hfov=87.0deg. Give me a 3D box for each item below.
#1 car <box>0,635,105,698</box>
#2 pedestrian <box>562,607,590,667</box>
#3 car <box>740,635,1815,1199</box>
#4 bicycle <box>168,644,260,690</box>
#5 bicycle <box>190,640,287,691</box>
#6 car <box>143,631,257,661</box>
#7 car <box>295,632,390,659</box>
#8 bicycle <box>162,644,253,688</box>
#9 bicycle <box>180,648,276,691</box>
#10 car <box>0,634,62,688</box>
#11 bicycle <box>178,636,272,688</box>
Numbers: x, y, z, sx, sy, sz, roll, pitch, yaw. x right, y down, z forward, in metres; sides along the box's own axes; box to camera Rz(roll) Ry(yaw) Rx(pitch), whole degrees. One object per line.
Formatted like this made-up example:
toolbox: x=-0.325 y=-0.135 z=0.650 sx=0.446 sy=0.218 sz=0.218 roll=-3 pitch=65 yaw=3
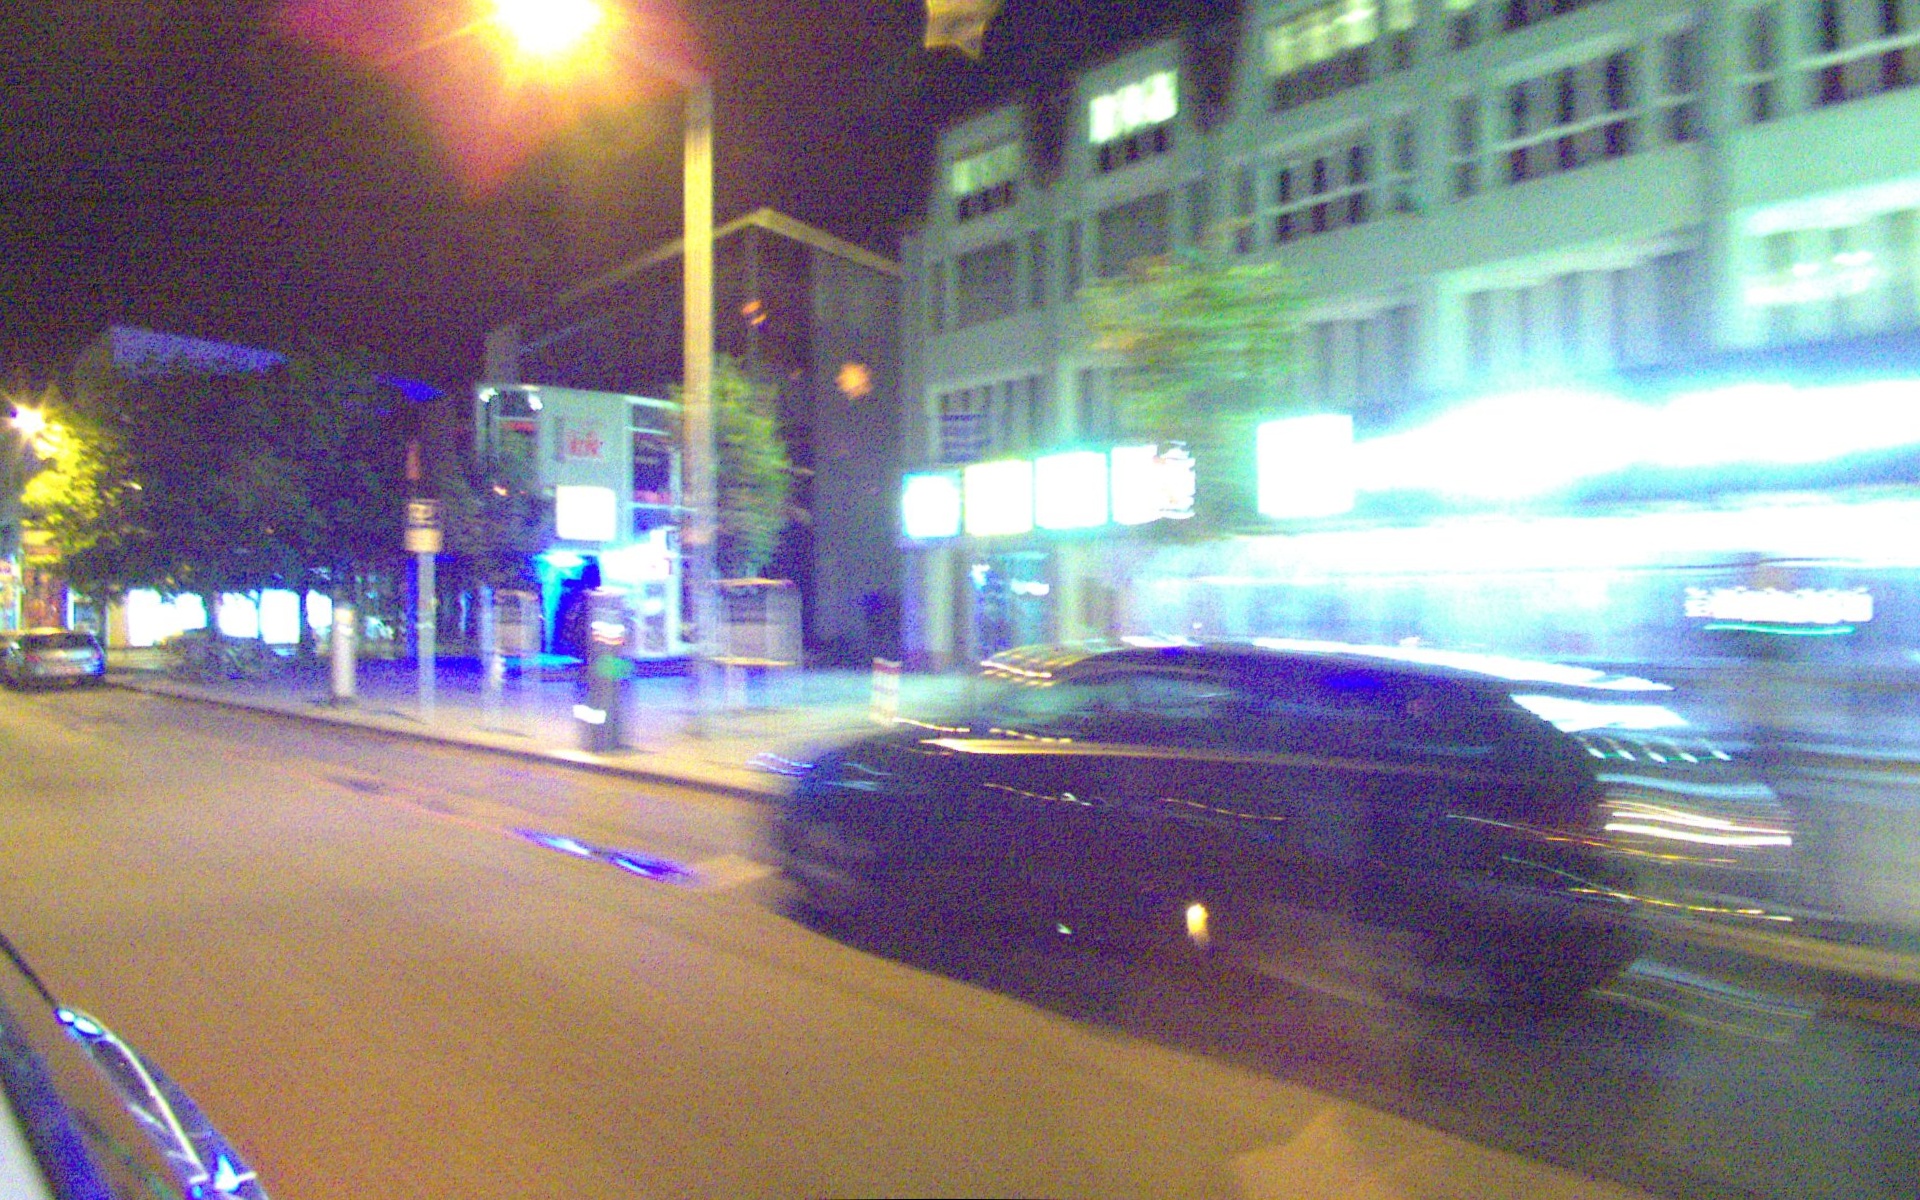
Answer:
car: x=-23.717 y=1.667 z=26.269 sx=3.974 sy=1.439 sz=1.704 roll=-2 pitch=-1 yaw=41
pedestrian: x=-10.596 y=1.019 z=27.939 sx=0.631 sy=1.649 sz=0.473 roll=-2 pitch=-3 yaw=41
car: x=1.037 y=0.902 z=4.746 sx=4.493 sy=1.424 sz=1.723 roll=-2 pitch=-2 yaw=41
bicycle: x=-19.087 y=1.696 z=25.930 sx=0.532 sy=1.043 sz=1.832 roll=-2 pitch=-1 yaw=40
bicycle: x=-17.424 y=1.560 z=24.472 sx=0.532 sy=1.175 sz=1.832 roll=-2 pitch=-3 yaw=40
car: x=-37.993 y=2.263 z=50.672 sx=1.801 sy=1.408 sz=4.285 roll=-2 pitch=-2 yaw=39
car: x=-33.962 y=2.482 z=55.760 sx=1.801 sy=1.448 sz=4.094 roll=-2 pitch=-2 yaw=39
bicycle: x=-19.574 y=1.697 z=26.349 sx=0.532 sy=1.007 sz=1.832 roll=-2 pitch=-1 yaw=40
bicycle: x=-17.908 y=1.684 z=24.796 sx=0.501 sy=0.975 sz=1.832 roll=-2 pitch=-3 yaw=40
car: x=-27.981 y=1.765 z=29.718 sx=4.918 sy=1.436 sz=1.788 roll=-2 pitch=-1 yaw=41
bicycle: x=-18.549 y=1.553 z=25.575 sx=0.532 sy=1.263 sz=1.832 roll=-2 pitch=-3 yaw=40
